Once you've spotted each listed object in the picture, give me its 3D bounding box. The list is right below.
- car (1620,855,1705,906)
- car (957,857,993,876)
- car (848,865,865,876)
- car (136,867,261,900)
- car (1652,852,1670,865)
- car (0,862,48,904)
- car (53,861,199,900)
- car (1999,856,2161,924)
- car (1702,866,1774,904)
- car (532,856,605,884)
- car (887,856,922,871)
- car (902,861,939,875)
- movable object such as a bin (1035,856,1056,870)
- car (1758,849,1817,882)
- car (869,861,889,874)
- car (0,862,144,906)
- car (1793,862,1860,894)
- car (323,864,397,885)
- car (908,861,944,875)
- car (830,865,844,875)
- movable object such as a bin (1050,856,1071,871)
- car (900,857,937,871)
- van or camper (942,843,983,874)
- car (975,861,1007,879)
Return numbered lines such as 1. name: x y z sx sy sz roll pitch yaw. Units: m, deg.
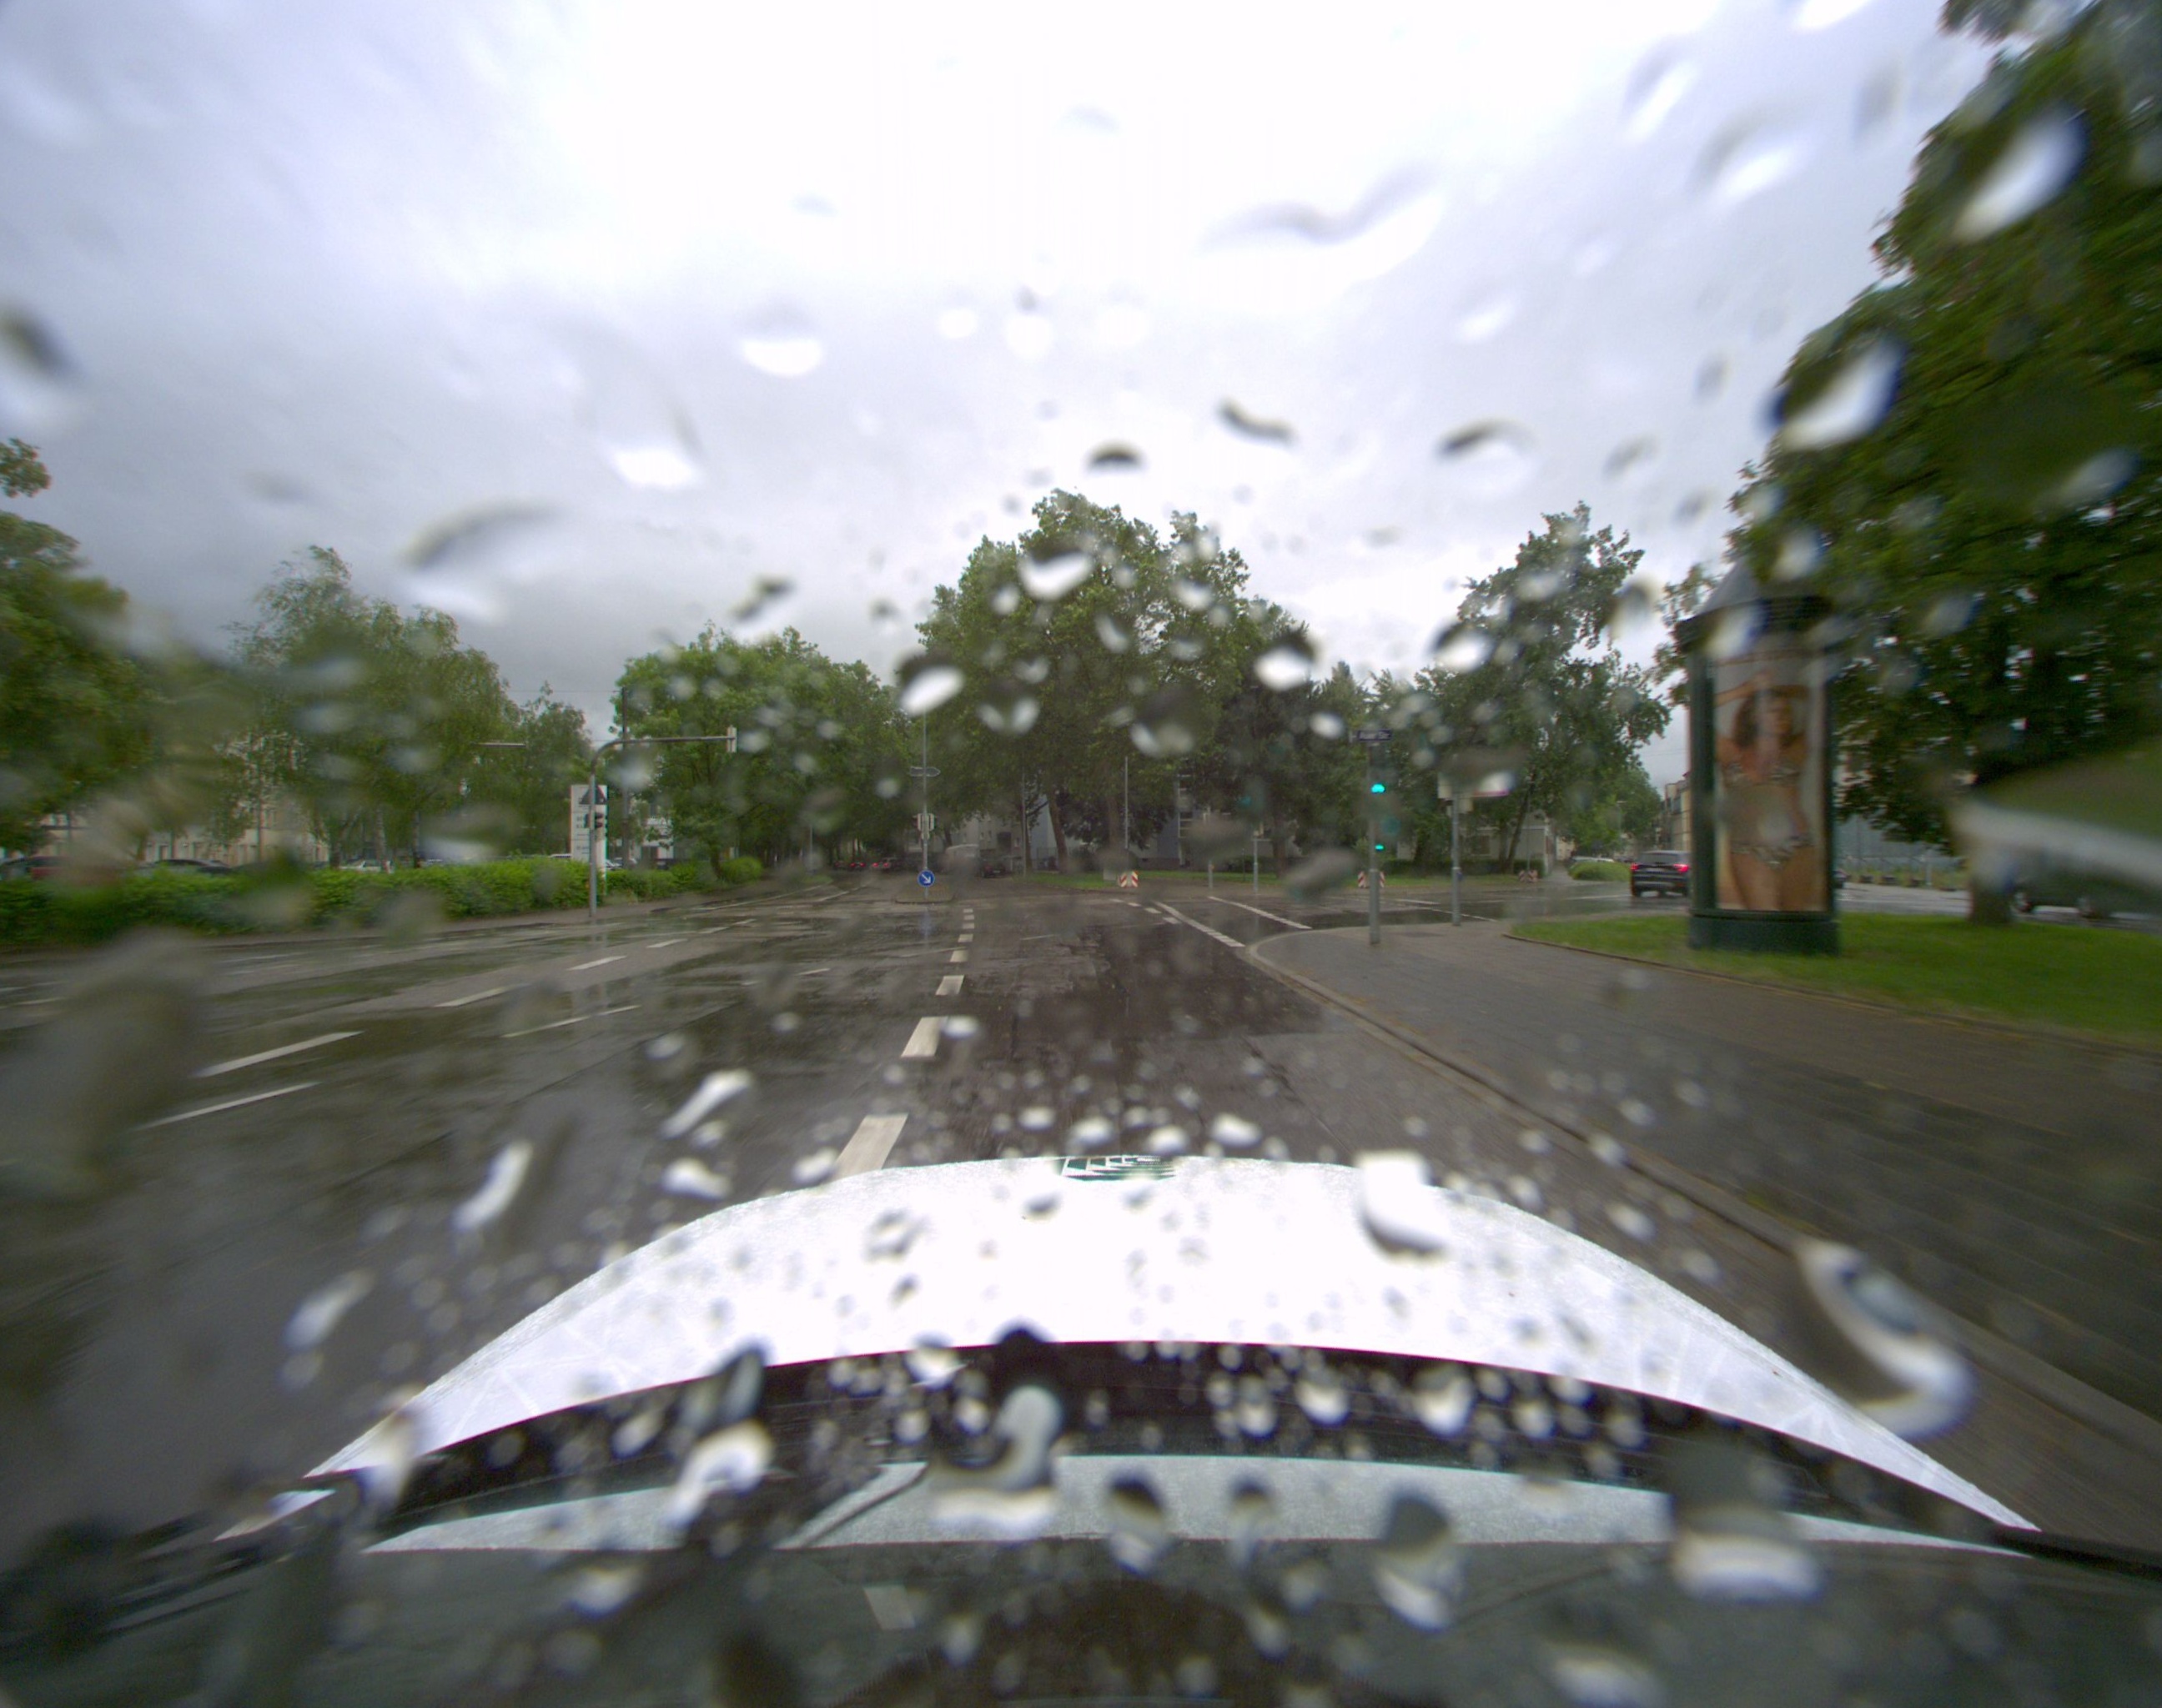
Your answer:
1. car: 21.496 0.911 30.022 1.975 1.744 4.330 0 -1 44
2. car: -9.132 1.096 69.901 1.925 1.620 4.417 1 -2 -25
3. car: -31.166 2.259 113.014 1.714 1.411 3.616 -3 1 -24
4. car: -47.020 1.539 43.526 4.007 1.559 2.146 -1 0 -26
5. car: 88.123 0.698 123.684 1.974 2.014 4.025 0 -1 31
6. car: -41.327 1.076 29.697 4.007 1.519 1.983 -1 0 -26
7. car: -45.261 1.234 38.732 4.007 1.686 1.983 -1 0 -26
8. car: 27.052 0.891 21.744 1.837 1.654 4.330 0 0 26
9. car: 30.438 1.386 37.869 1.974 1.602 4.114 0 0 30
10. car: -34.705 1.071 55.271 4.009 1.833 1.838 1 -1 -27
11. car: -22.075 1.160 102.014 1.814 1.697 3.893 0 2 39
12. car: -18.736 1.606 95.298 1.780 1.601 4.025 0 -1 36
13. movable object such as a bin: -3.671 0.935 83.571 1.223 1.432 1.841 1 -1 -41
14. car: 41.021 0.659 47.376 1.858 1.810 4.114 0 0 30
15. car: -23.272 1.561 93.735 1.714 1.411 3.616 -3 1 -24
16. car: -43.101 1.238 34.490 4.008 1.686 1.983 -1 0 -26
17. car: 38.006 1.169 41.610 1.955 1.549 4.558 0 0 35
18. car: -57.820 1.623 65.407 4.007 1.560 1.983 -1 0 -26
19. car: -17.583 1.588 92.263 1.780 1.601 3.793 0 -1 36
20. car: -38.642 2.499 128.934 1.714 1.411 3.616 -3 1 -24
21. movable object such as a bin: -2.099 0.948 82.391 1.223 1.432 1.841 1 -1 -41
22. car: -19.769 1.224 99.080 2.009 1.601 4.025 0 -1 39
23. van or camper: -11.350 0.468 77.400 2.328 2.807 6.813 0 -1 -22
24. car: -7.223 1.251 65.083 1.554 1.390 4.120 1 0 -21
